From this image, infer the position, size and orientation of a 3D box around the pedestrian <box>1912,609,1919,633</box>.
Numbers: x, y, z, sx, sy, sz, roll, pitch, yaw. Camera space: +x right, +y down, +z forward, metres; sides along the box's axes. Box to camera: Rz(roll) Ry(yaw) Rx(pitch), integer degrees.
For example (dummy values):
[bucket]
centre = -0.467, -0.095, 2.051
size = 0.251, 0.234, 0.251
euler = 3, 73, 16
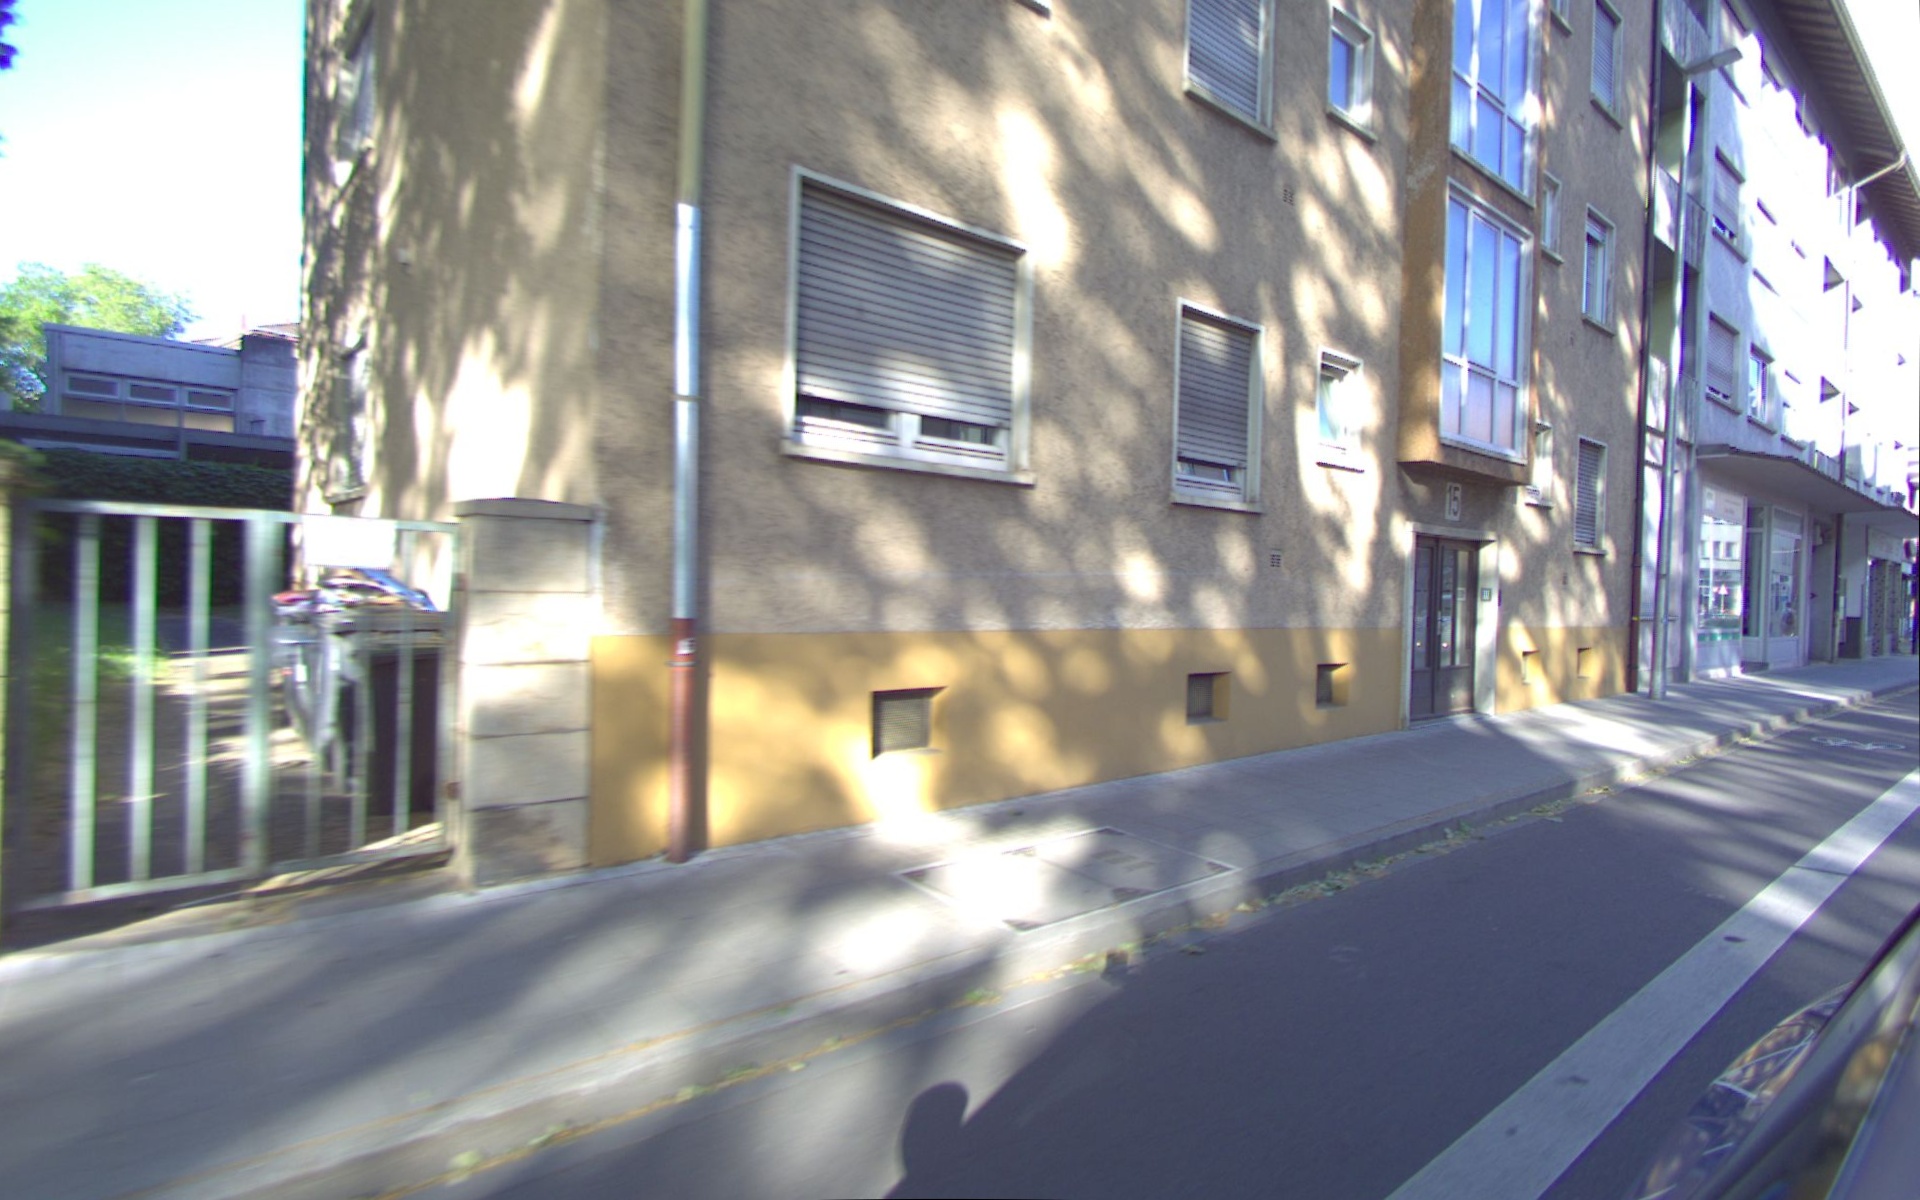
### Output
[pedestrian]
centre = 51.725, 1.154, 54.367
size = 0.705, 1.257, 0.755
euler = 6, 4, 41
